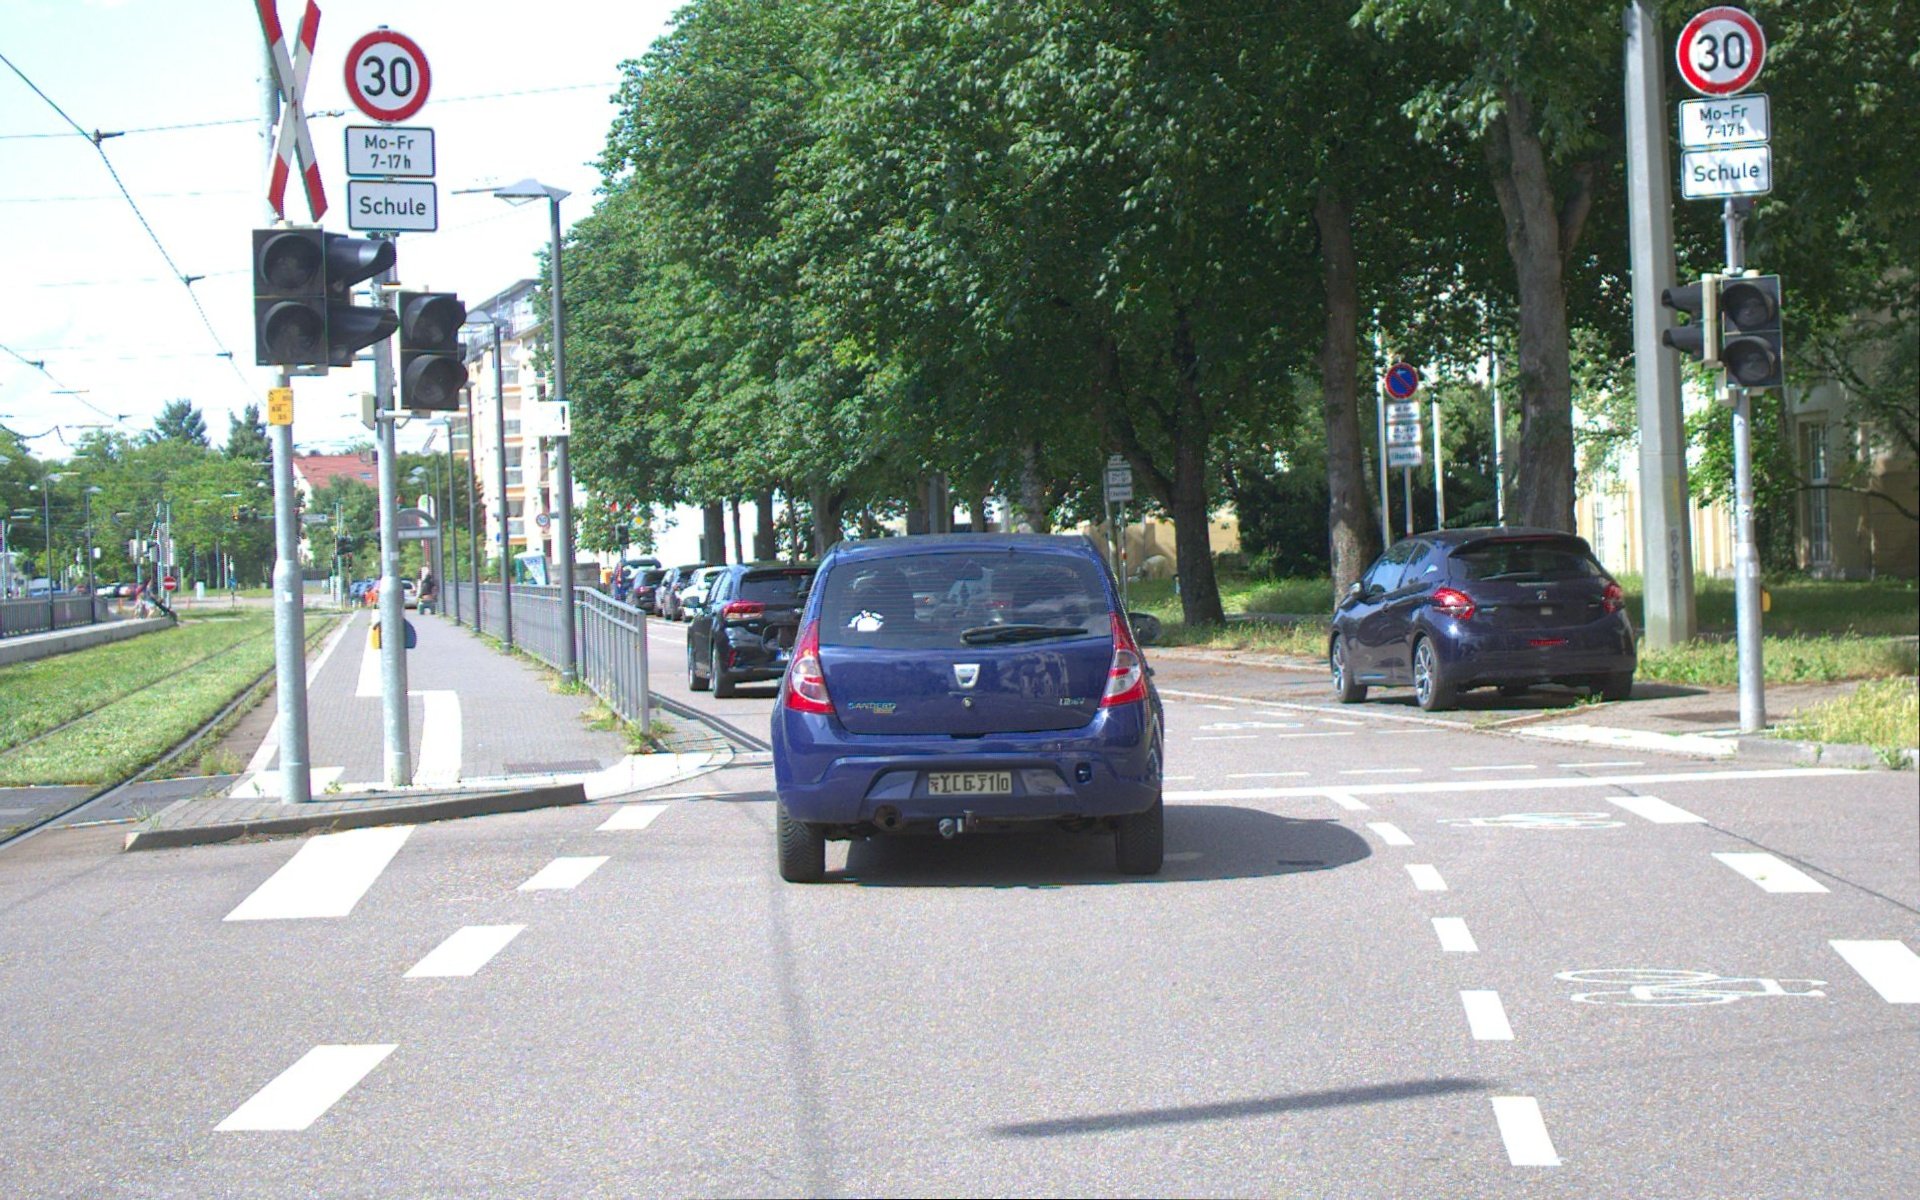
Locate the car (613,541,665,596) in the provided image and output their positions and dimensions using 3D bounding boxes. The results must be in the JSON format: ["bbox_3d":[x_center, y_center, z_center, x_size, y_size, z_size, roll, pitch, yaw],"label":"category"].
[{"bbox_3d":[-10.879,-1.066,116.620,1.667,1.766,4.001,-2,1,-5],"label":"car"}]

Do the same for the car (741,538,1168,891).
[{"bbox_3d":[-0.024,0.443,16.225,1.768,1.457,3.776,0,1,0],"label":"car"}]

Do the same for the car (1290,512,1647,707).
[{"bbox_3d":[4.157,0.050,28.739,1.765,1.428,3.905,-3,1,-10],"label":"car"}]

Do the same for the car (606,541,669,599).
[{"bbox_3d":[-10.351,-0.987,110.528,1.830,1.755,4.001,-2,1,-3],"label":"car"}]

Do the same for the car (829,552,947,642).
[{"bbox_3d":[-1.329,-0.078,61.698,1.861,1.440,4.001,-4,1,-3],"label":"car"}]

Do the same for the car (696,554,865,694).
[{"bbox_3d":[-1.981,0.223,37.178,1.699,1.363,3.515,-1,2,-5],"label":"car"}]

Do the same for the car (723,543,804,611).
[{"bbox_3d":[-4.781,-0.576,83.542,1.827,1.532,4.001,-3,1,-3],"label":"car"}]

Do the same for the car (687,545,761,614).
[{"bbox_3d":[-6.352,-0.571,92.111,1.617,1.744,4.001,-2,1,-8],"label":"car"}]
